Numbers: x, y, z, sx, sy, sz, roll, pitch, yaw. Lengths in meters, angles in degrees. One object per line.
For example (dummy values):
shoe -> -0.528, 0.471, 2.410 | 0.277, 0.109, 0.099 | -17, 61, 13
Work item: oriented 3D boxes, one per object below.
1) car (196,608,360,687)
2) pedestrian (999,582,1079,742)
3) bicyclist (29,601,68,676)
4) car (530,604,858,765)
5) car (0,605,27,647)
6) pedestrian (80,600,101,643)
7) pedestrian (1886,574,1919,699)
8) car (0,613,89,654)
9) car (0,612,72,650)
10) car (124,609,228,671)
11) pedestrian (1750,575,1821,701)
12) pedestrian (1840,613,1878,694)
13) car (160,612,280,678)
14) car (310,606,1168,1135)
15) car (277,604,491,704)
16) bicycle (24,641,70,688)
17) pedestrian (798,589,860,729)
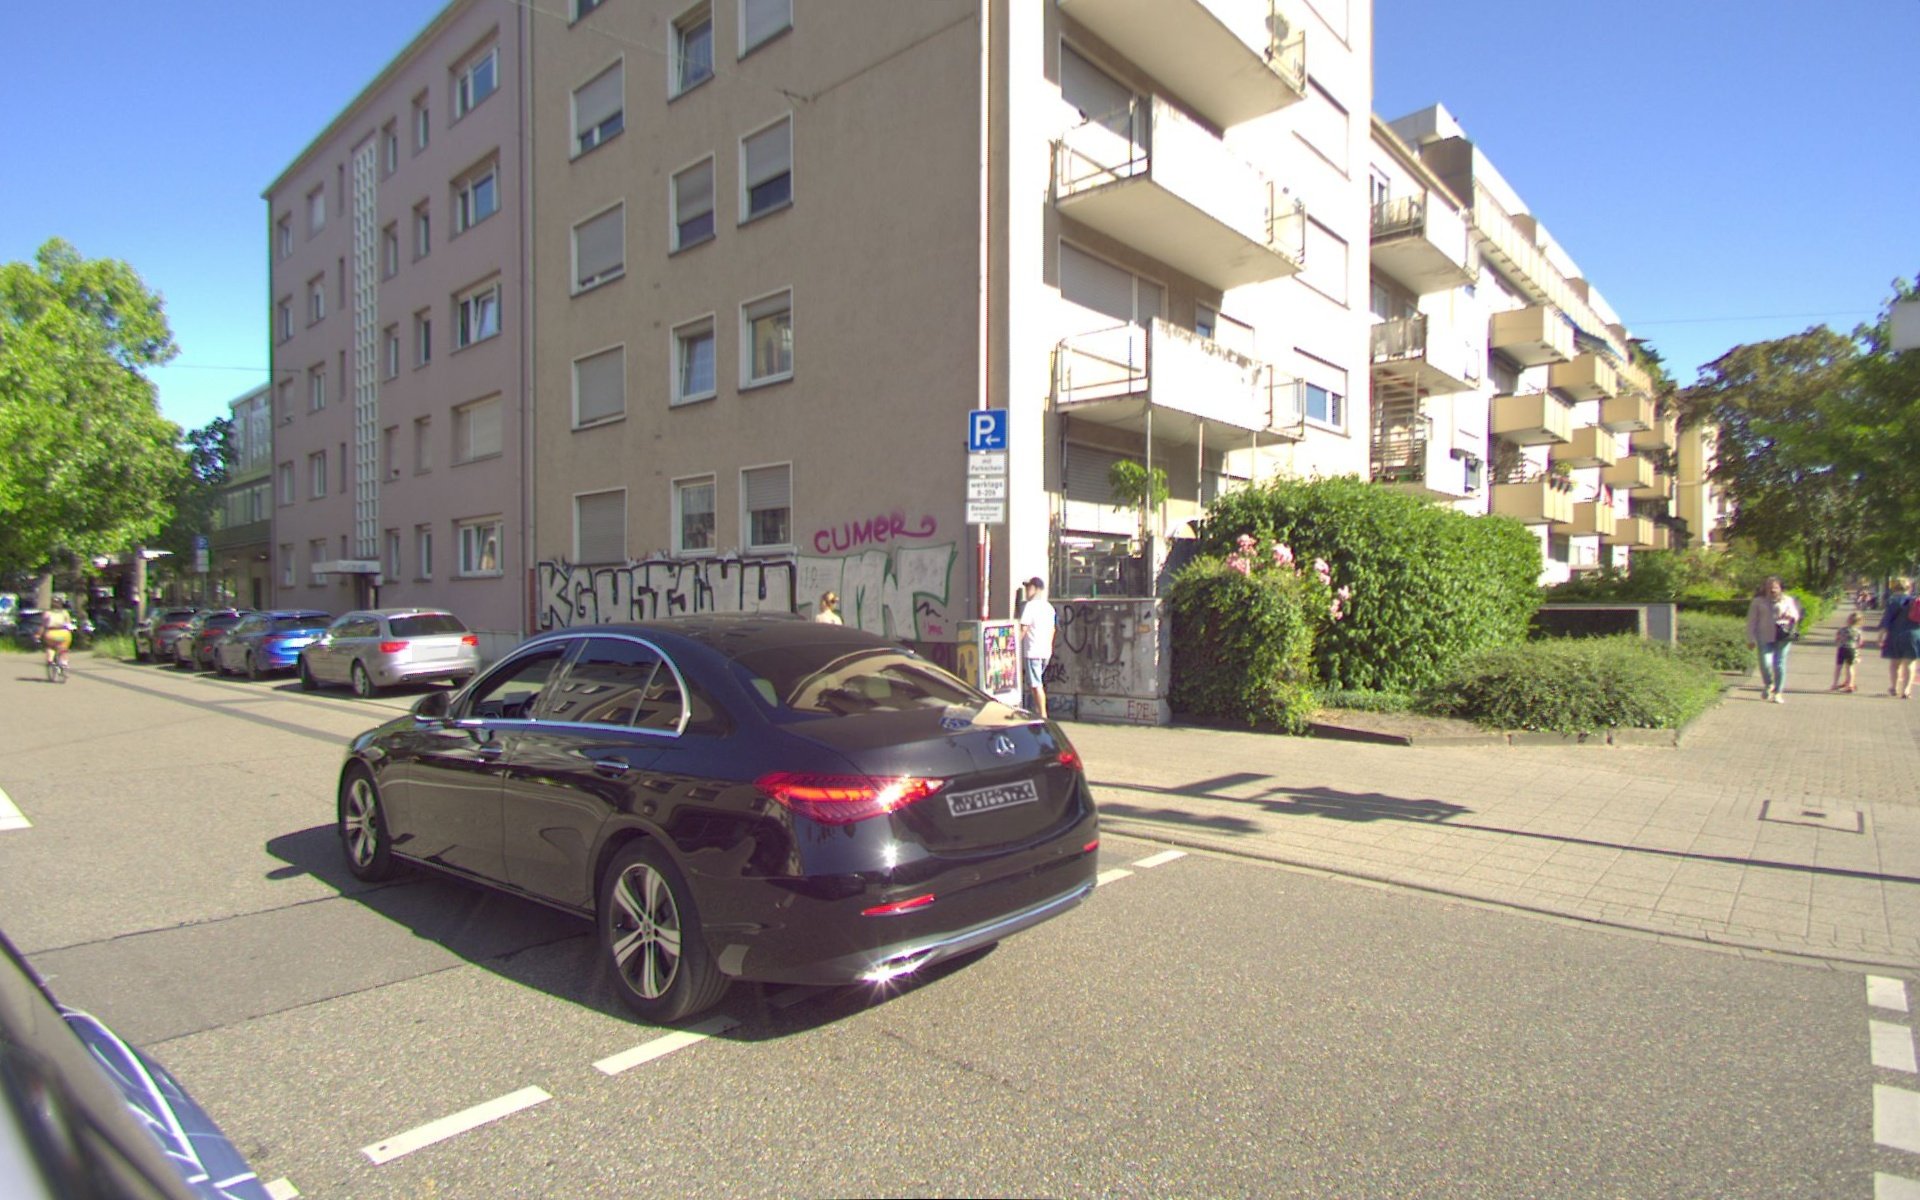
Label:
car -> -15.378, 0.991, 22.712 | 4.798, 1.514, 1.805 | -1, 2, 41
pedestrian -> 0.868, 0.659, 11.165 | 0.668, 1.701, 0.568 | -1, -1, 37
bicyclist -> -19.106, 0.801, 21.209 | 0.774, 1.532, 0.537 | -1, -1, 42
car -> -3.124, 0.830, 11.511 | 3.854, 1.459, 1.674 | -1, 2, 41
car -> -48.625, 1.313, 49.833 | 1.913, 2.058, 3.824 | -1, -1, 43
pedestrian -> -37.399, 0.912, 43.541 | 0.502, 1.820, 0.615 | -1, -1, 42
pedestrian -> 13.324, 0.494, 14.078 | 0.574, 1.696, 0.956 | -1, -1, 40
car -> -37.740, 1.323, 40.710 | 1.913, 1.564, 3.942 | -1, 0, 44
car -> -40.399, 1.326, 42.966 | 1.913, 1.564, 3.942 | -1, 0, 44
car -> -22.875, 1.108, 29.478 | 4.158, 1.588, 1.704 | -1, 2, 43
pedestrian -> 10.939, 0.492, 13.413 | 0.696, 1.608, 0.639 | -1, -1, 40
pedestrian -> 13.208, 0.769, 14.881 | 0.386, 1.155, 0.524 | -1, -1, 40
car -> -18.942, 1.090, 25.852 | 4.158, 1.478, 1.704 | -1, 2, 43
car -> -1.395, 0.777, 4.890 | 4.424, 1.424, 1.786 | -1, -2, 41
car -> -10.507, 0.892, 18.296 | 4.798, 1.514, 1.805 | -1, 2, 41
bicycle -> -19.244, 1.350, 21.331 | 1.826, 0.909, 0.537 | -1, -1, 42
pedestrian -> -1.543, 0.671, 11.922 | 0.524, 1.593, 0.564 | 0, -1, -32
